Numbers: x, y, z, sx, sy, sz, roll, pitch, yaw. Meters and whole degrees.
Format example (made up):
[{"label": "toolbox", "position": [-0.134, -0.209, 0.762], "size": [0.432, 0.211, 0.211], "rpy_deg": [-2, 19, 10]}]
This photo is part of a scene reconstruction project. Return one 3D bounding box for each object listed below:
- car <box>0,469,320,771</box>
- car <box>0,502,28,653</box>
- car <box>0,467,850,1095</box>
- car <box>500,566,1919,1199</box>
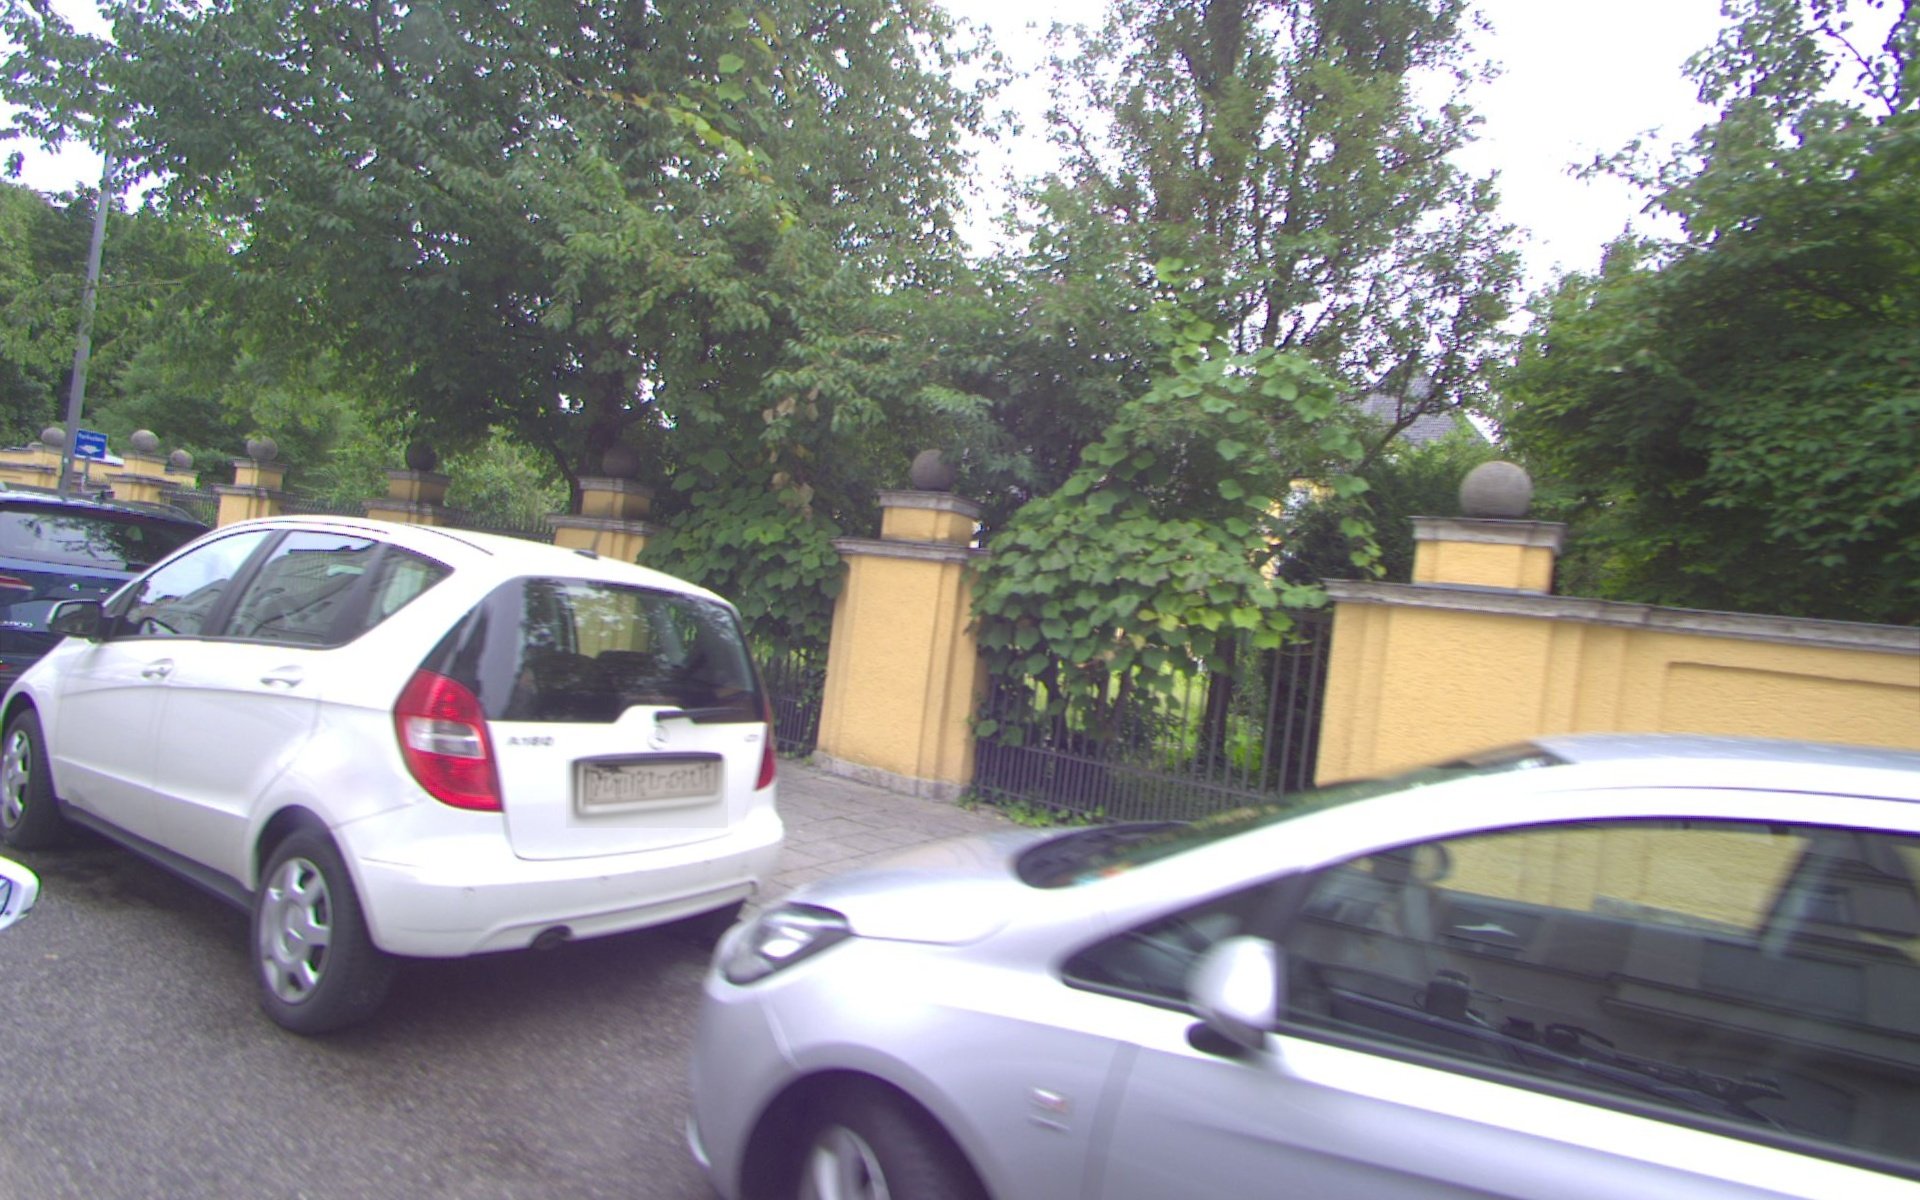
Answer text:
[{"label": "car", "position": [-6.645, -0.053, 7.075], "size": [4.614, 1.590, 1.715], "rpy_deg": [7, -1, 32]}, {"label": "car", "position": [-11.385, -0.479, 10.220], "size": [4.442, 1.432, 1.694], "rpy_deg": [7, -1, 33]}, {"label": "car", "position": [-2.769, 0.396, 4.547], "size": [4.249, 1.590, 1.715], "rpy_deg": [7, -1, 32]}, {"label": "car", "position": [1.190, 0.921, 1.949], "size": [4.115, 1.471, 1.715], "rpy_deg": [7, -1, 32]}]
